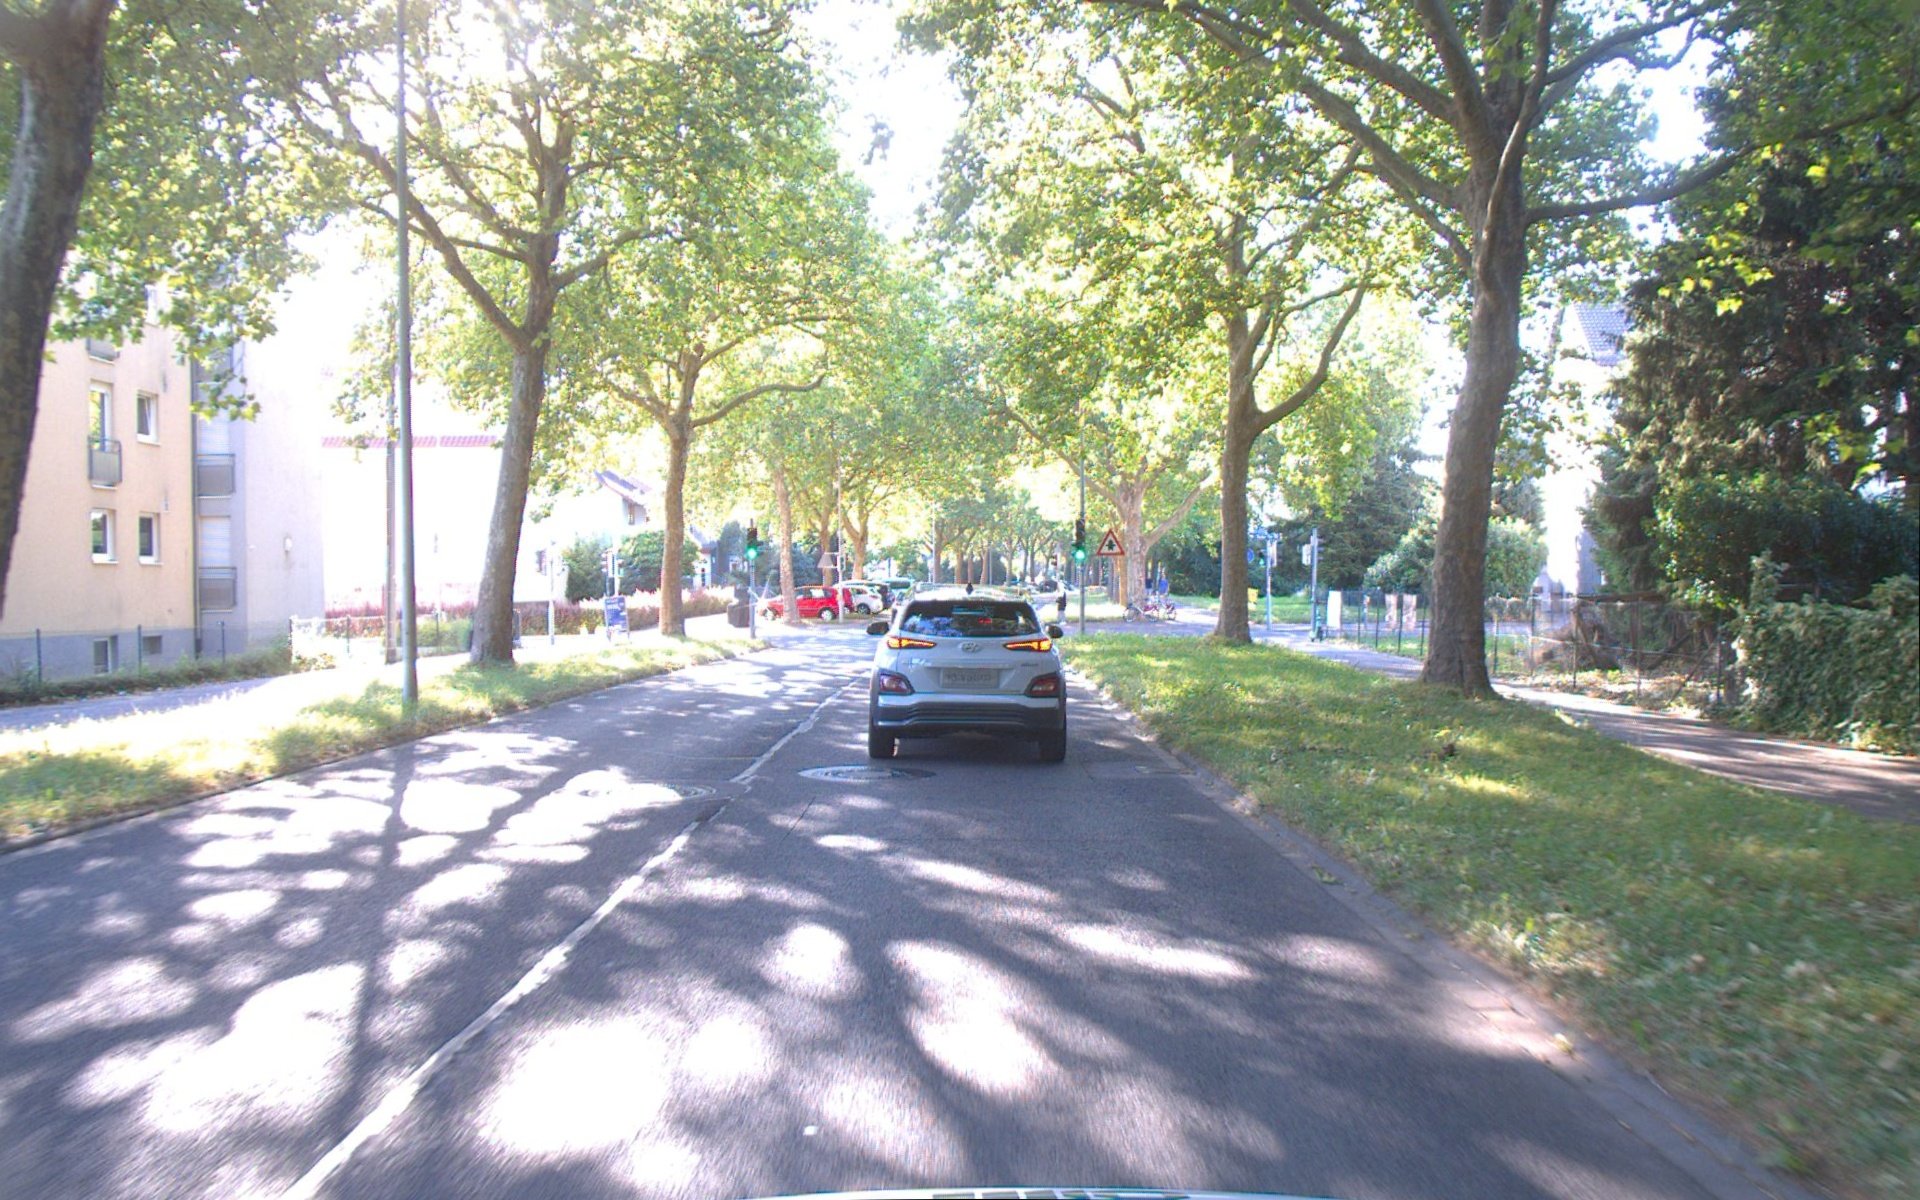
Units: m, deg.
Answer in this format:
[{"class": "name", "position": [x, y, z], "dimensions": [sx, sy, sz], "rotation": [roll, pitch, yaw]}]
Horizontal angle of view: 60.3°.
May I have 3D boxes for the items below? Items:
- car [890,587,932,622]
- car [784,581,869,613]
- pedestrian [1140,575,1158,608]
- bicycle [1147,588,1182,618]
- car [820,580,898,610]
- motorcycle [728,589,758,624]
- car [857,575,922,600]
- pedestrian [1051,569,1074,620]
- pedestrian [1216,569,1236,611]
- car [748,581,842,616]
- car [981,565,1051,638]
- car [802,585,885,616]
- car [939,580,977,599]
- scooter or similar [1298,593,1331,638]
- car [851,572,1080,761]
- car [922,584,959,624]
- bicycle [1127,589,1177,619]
[{"class": "car", "position": [-2.157, 0.178, 73.263], "dimensions": [1.653, 1.462, 3.683], "rotation": [1, 1, 1]}, {"class": "car", "position": [-6.470, -0.129, 80.555], "dimensions": [3.904, 1.504, 2.000], "rotation": [1, 0, 1]}, {"class": "pedestrian", "position": [11.957, -0.554, 104.588], "dimensions": [1.071, 2.049, 1.106], "rotation": [0, 0, 7]}, {"class": "bicycle", "position": [8.318, 0.106, 67.367], "dimensions": [0.594, 1.204, 2.107], "rotation": [1, 0, -18]}, {"class": "car", "position": [-5.315, -0.256, 87.196], "dimensions": [3.904, 1.504, 2.000], "rotation": [1, 0, 1]}, {"class": "motorcycle", "position": [-8.983, 0.275, 68.546], "dimensions": [0.828, 1.403, 2.776], "rotation": [1, 0, 0]}, {"class": "car", "position": [-4.370, -0.754, 102.521], "dimensions": [3.904, 1.504, 2.000], "rotation": [1, 0, 1]}, {"class": "pedestrian", "position": [4.226, -0.229, 68.056], "dimensions": [0.849, 2.049, 0.814], "rotation": [0, 0, 9]}, {"class": "pedestrian", "position": [11.129, -0.422, 69.150], "dimensions": [0.816, 1.766, 0.886], "rotation": [0, 0, 9]}, {"class": "car", "position": [-7.272, -0.074, 73.025], "dimensions": [3.904, 1.504, 2.000], "rotation": [1, 0, 1]}, {"class": "car", "position": [1.591, 0.016, 48.565], "dimensions": [1.952, 2.049, 4.000], "rotation": [0, 1, 0]}, {"class": "car", "position": [-5.812, 0.036, 82.732], "dimensions": [3.904, 1.504, 2.001], "rotation": [1, 0, 2]}, {"class": "car", "position": [-0.175, -1.055, 164.609], "dimensions": [3.601, 1.840, 1.746], "rotation": [0, 0, -9]}, {"class": "scooter or similar", "position": [10.309, 0.435, 48.174], "dimensions": [0.538, 1.280, 2.313], "rotation": [0, 0, 2]}, {"class": "car", "position": [0.051, 0.565, 16.198], "dimensions": [1.953, 1.602, 4.000], "rotation": [1, 0, 0]}, {"class": "car", "position": [-0.950, 0.180, 82.387], "dimensions": [1.754, 1.914, 4.000], "rotation": [1, 0, 0]}, {"class": "bicycle", "position": [7.665, 0.155, 66.218], "dimensions": [0.600, 1.184, 2.116], "rotation": [1, 0, -42]}]
